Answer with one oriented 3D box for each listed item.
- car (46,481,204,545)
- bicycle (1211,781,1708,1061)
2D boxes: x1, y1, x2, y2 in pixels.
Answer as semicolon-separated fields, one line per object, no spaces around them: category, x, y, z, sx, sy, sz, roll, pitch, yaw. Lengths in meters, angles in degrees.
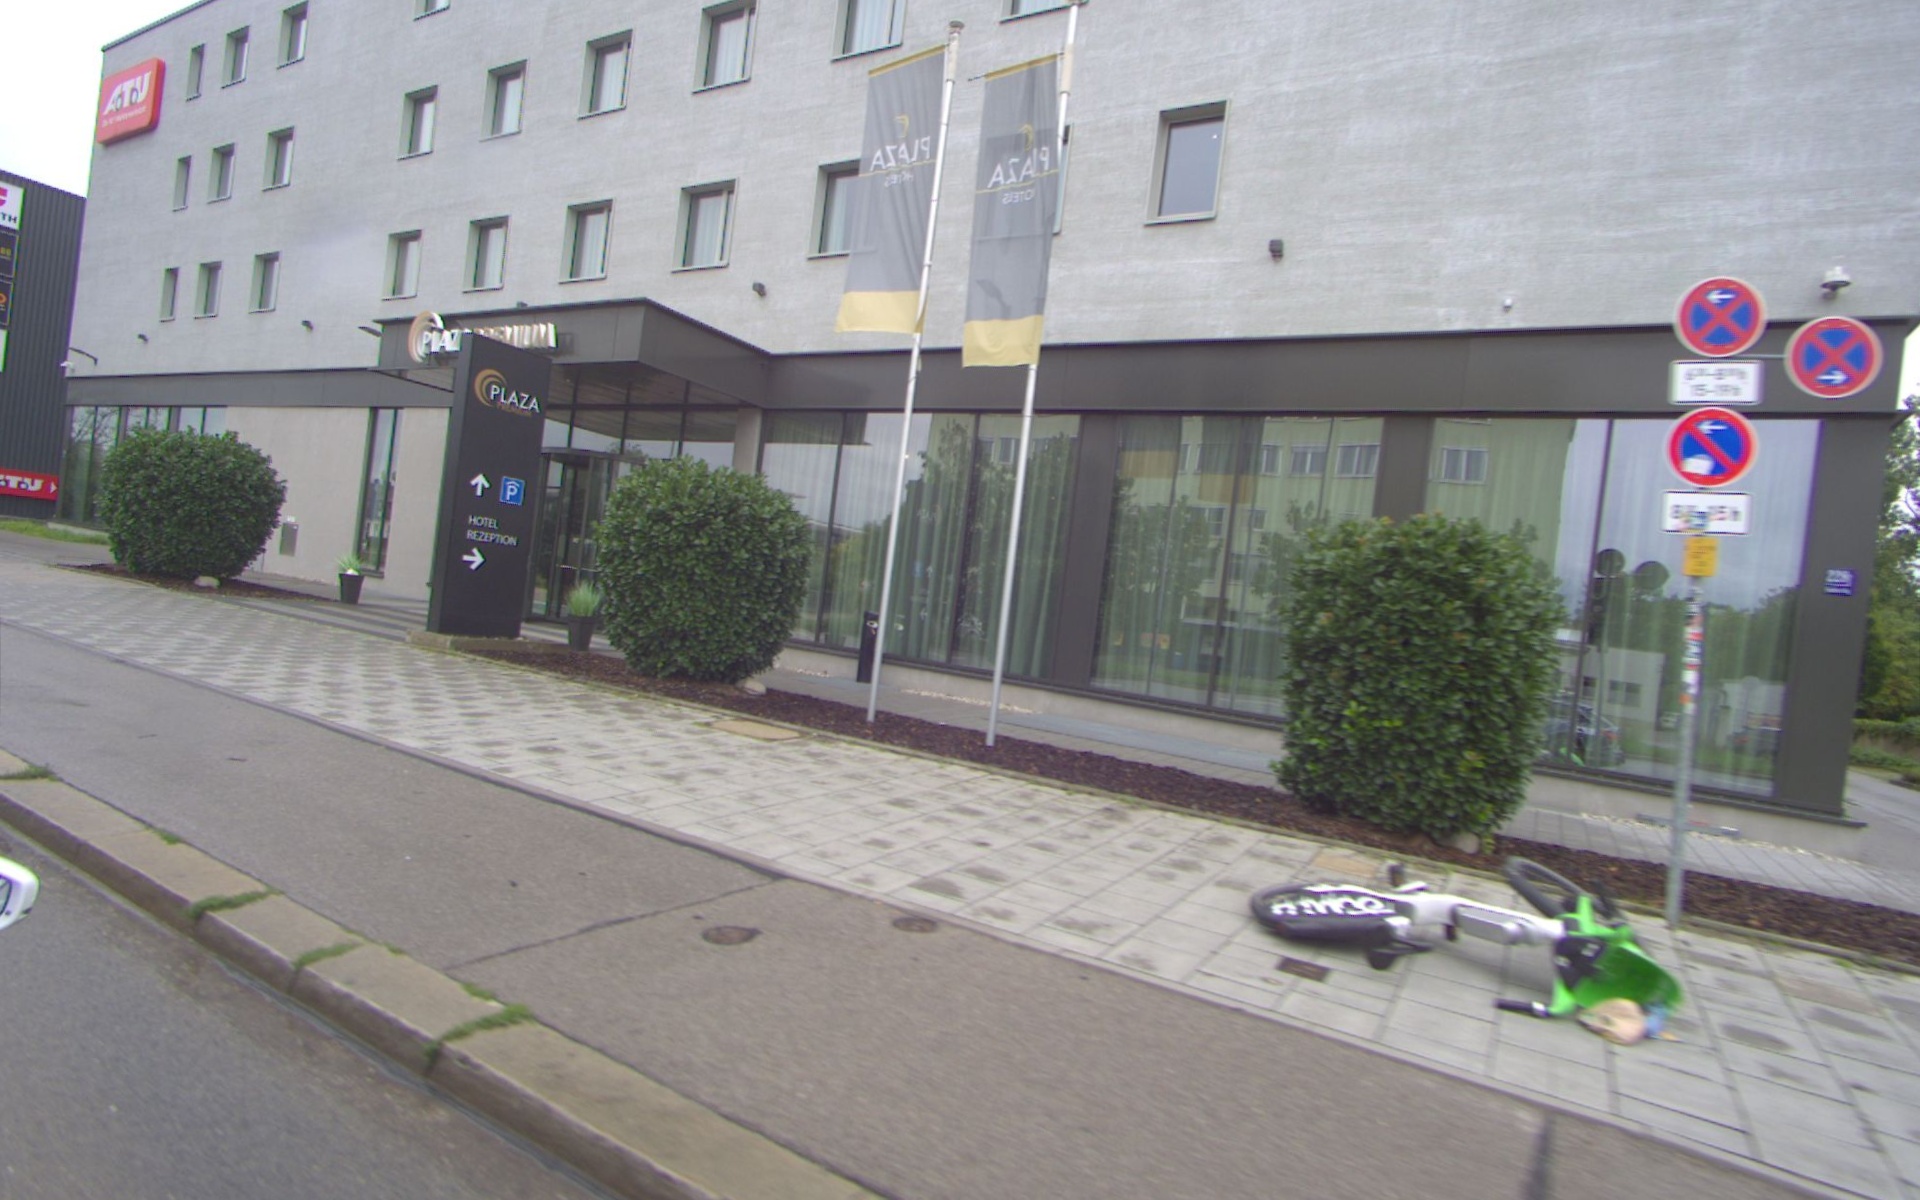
car;-30.584;-3.168;36.943;1.791;1.576;4.019;7;-2;33
bicycle;2.030;1.255;4.255;1.703;0.556;0.720;7;3;31
